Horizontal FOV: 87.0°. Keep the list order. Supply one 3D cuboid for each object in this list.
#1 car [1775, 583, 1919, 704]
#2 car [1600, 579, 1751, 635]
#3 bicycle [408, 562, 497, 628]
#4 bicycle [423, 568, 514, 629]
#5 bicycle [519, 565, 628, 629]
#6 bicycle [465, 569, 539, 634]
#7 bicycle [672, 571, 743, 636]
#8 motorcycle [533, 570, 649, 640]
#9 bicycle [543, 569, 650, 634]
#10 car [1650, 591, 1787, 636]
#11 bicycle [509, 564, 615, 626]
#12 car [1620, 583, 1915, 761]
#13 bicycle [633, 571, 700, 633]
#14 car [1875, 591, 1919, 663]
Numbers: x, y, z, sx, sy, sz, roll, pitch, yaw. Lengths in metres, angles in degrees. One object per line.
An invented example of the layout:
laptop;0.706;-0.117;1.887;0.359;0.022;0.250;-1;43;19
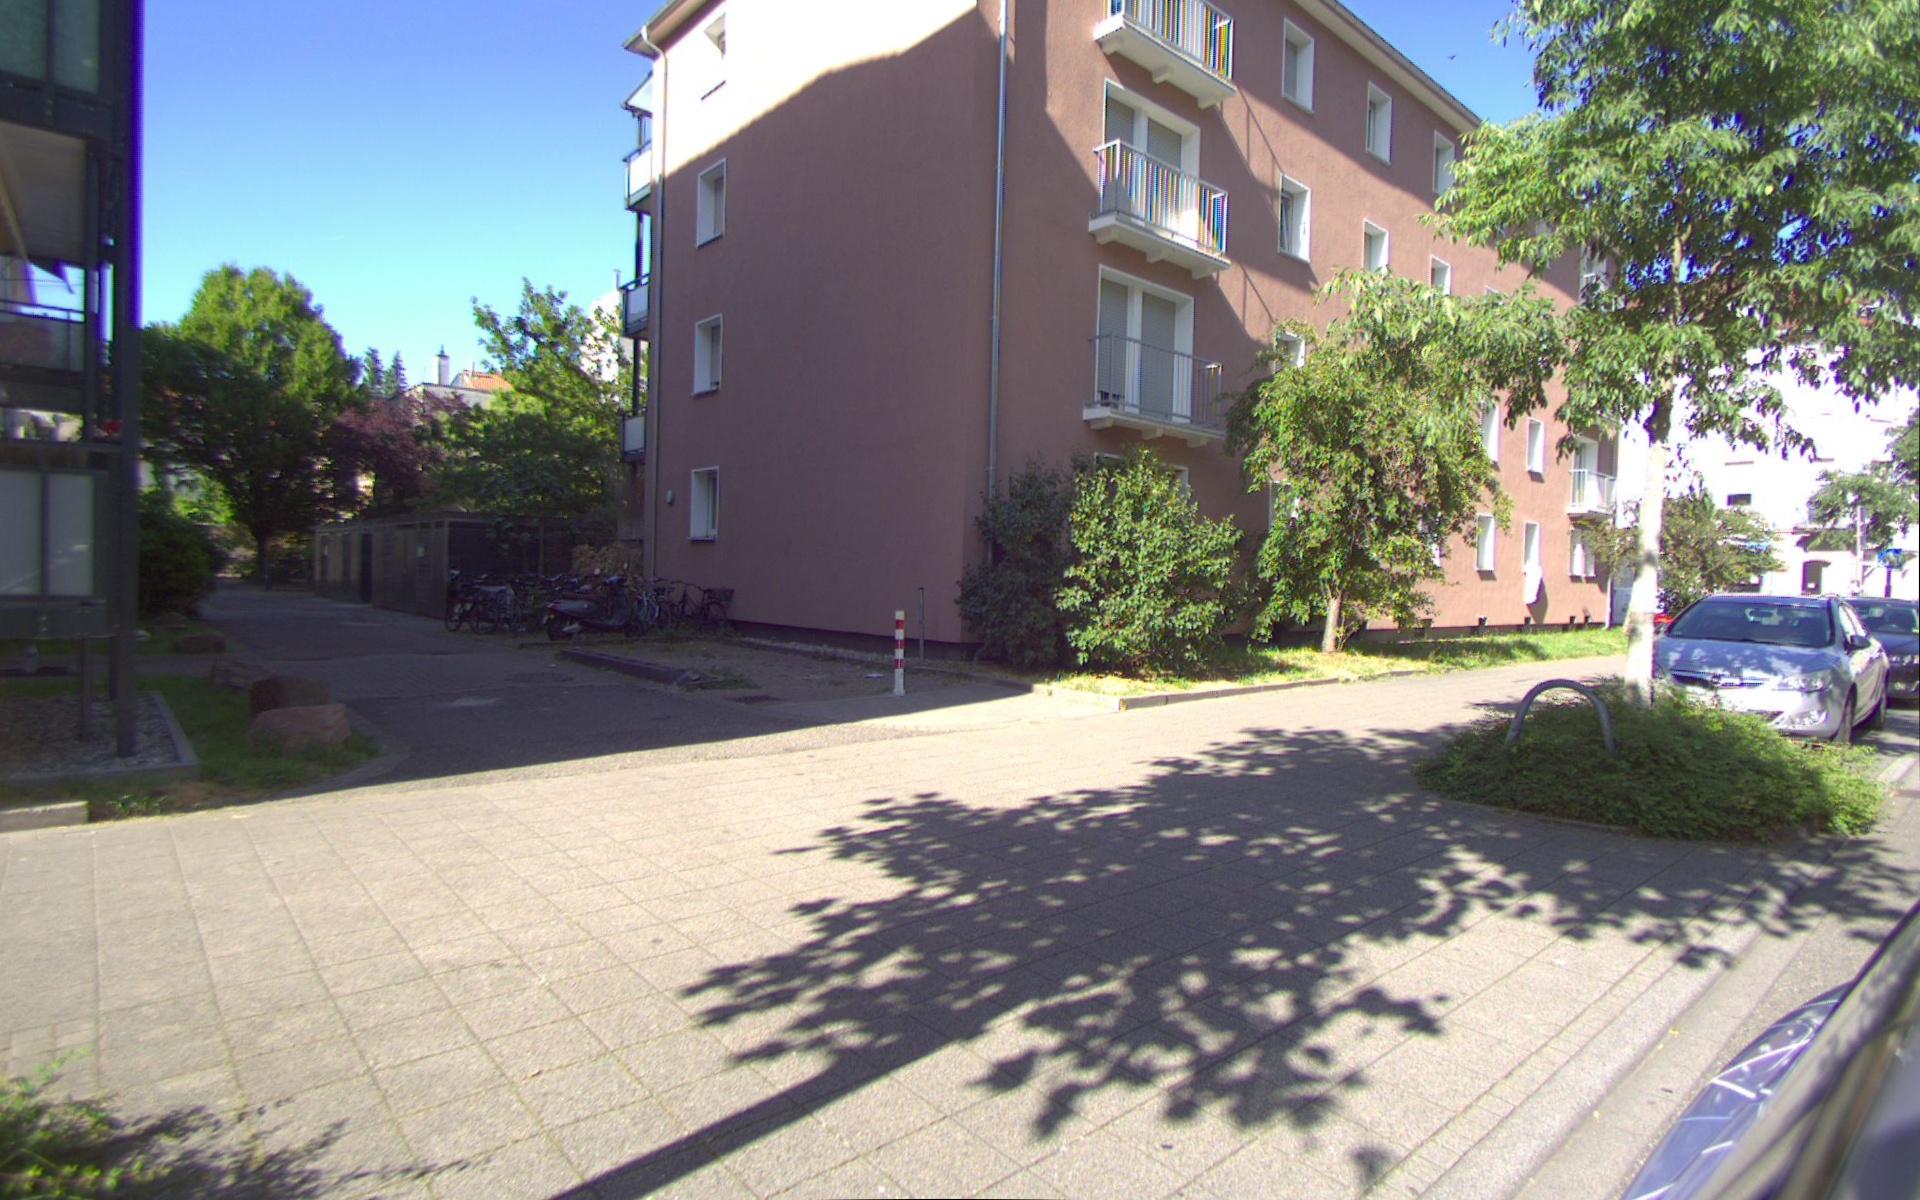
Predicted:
car;13.373;0.550;14.700;4.236;1.500;1.661;0;2;-41
car;29.080;0.226;41.218;4.745;2.038;1.968;3;2;45
bicycle;-9.782;-0.102;19.531;1.453;1.220;0.557;0;1;-40
bicycle;-9.293;-0.041;19.153;1.453;1.112;0.557;0;1;-40
bicycle;-7.377;-0.062;19.362;1.847;1.166;0.578;0;1;-40
bicycle;-8.318;0.013;18.358;1.712;1.112;0.549;2;1;40
bicycle;-4.591;0.044;18.361;0.584;1.112;1.538;0;1;-42
motorcycle;-6.182;0.073;17.000;1.741;1.120;0.526;0;2;-41
bicycle;-6.638;0.021;18.527;1.741;1.120;0.567;0;2;-41
car;26.837;0.436;35.889;1.541;1.419;3.646;0;2;-41
bicycle;-7.861;-0.100;20.041;1.847;1.166;0.578;0;1;-40
car;8.583;0.587;10.642;3.931;1.471;1.719;-1;3;-41
bicycle;-5.712;0.017;19.626;0.548;1.112;1.717;0;2;-42
car;21.036;0.561;21.598;3.930;1.446;1.735;0;2;-41
